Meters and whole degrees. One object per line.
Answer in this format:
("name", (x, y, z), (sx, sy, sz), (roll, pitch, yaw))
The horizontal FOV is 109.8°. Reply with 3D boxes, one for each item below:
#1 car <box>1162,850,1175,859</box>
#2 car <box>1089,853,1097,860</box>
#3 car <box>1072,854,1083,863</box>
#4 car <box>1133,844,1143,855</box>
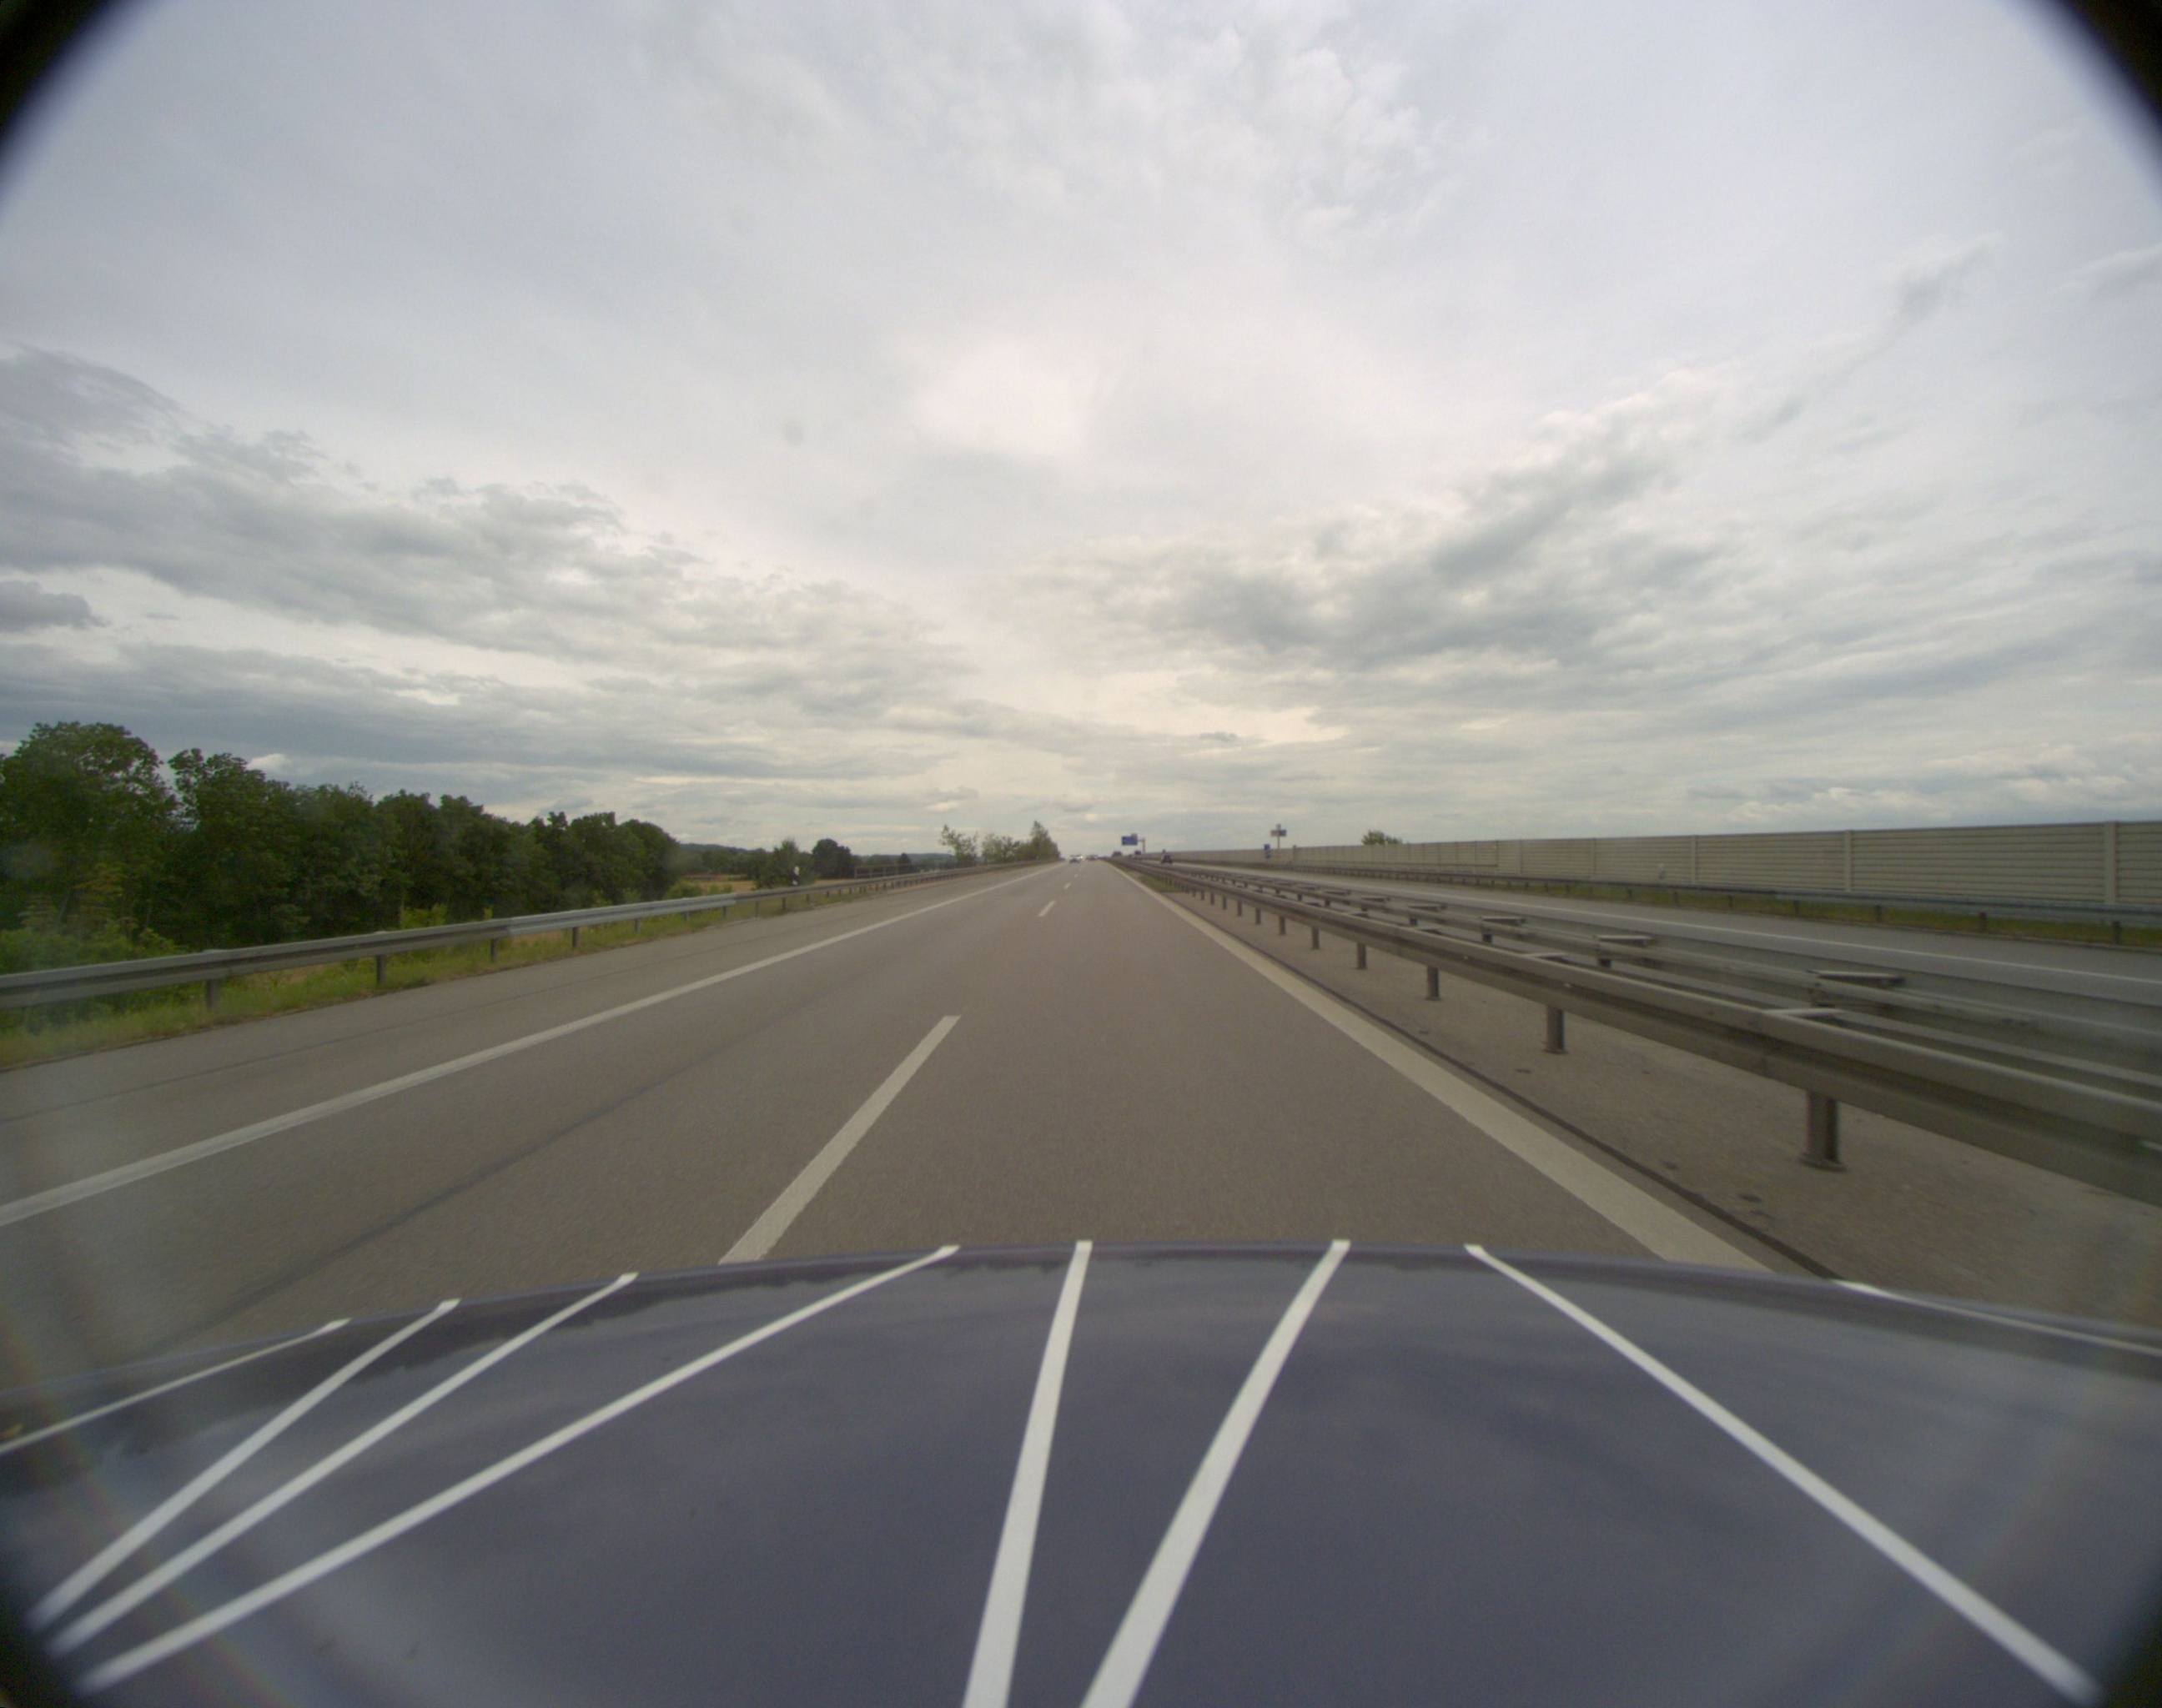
("car", (13.769, 0.118, 119.870), (1.674, 1.378, 4.000), (1, 0, 1))
("car", (2.744, 0.586, 173.120), (1.850, 1.664, 4.200), (0, -2, -1))
("car", (-0.640, 0.869, 139.639), (1.850, 1.664, 4.200), (0, -2, -1))
("car", (13.889, -1.008, 186.057), (2.075, 2.588, 6.288), (2, 1, 1))
